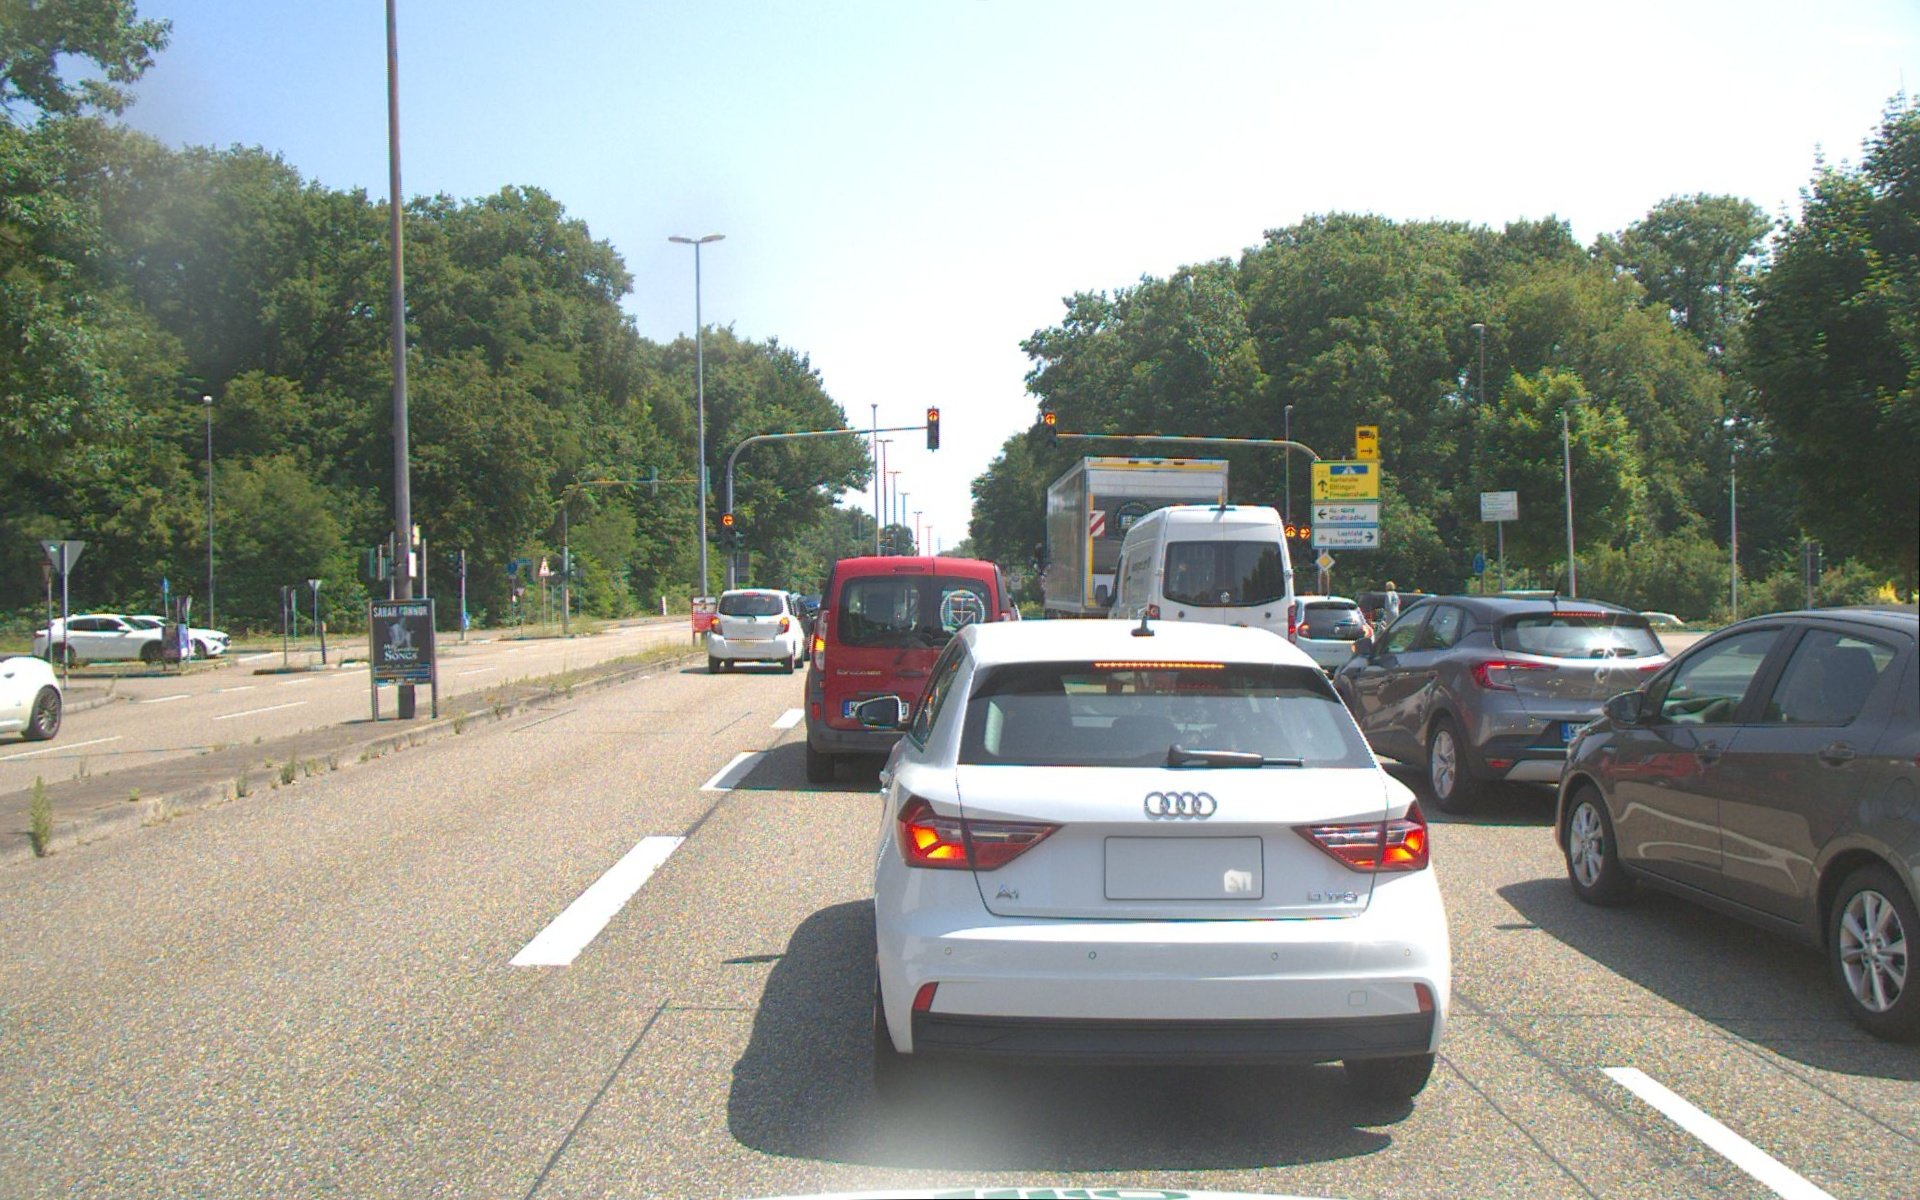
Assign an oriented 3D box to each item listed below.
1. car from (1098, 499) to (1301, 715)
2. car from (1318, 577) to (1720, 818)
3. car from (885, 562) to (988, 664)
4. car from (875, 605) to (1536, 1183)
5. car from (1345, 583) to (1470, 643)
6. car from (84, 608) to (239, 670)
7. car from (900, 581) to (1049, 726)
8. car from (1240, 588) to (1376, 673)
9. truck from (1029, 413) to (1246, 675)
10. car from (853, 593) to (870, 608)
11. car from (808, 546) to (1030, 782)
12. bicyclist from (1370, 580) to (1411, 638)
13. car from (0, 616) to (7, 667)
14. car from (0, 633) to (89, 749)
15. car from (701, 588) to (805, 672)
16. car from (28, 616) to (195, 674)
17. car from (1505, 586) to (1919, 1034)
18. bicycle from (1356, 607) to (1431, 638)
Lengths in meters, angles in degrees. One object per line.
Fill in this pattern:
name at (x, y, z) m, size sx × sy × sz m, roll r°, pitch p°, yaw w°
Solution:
car at (3.190, 0.083, 23.052) m, size 1.990 × 2.690 × 4.843 m, roll 0°, pitch 0°, yaw -2°
car at (4.225, 0.651, 13.215) m, size 1.677 × 1.621 × 4.090 m, roll 0°, pitch 0°, yaw -3°
car at (-0.470, 0.201, 28.915) m, size 1.677 × 1.660 × 4.090 m, roll 0°, pitch 0°, yaw -3°
car at (0.539, 0.740, 6.212) m, size 1.677 × 1.410 × 4.090 m, roll 0°, pitch 0°, yaw -3°
car at (15.946, 0.458, 59.120) m, size 3.906 × 2.049 × 2.000 m, roll -1°, pitch 0°, yaw -1°
car at (-27.003, 1.293, 56.062) m, size 4.291 × 1.710 × 1.807 m, roll -4°, pitch 0°, yaw -9°
car at (0.095, 0.609, 21.115) m, size 1.677 × 1.660 × 4.090 m, roll 0°, pitch 0°, yaw -3°
car at (6.802, 0.563, 32.721) m, size 1.677 × 1.573 × 4.090 m, roll 0°, pitch 0°, yaw -3°
truck at (3.320, -0.997, 34.418) m, size 3.026 × 4.511 × 11.577 m, roll 1°, pitch 0°, yaw -1°
car at (-12.077, 0.060, 202.194) m, size 1.953 × 1.803 × 4.203 m, roll -1°, pitch 0°, yaw -2°
car at (-0.396, 0.476, 14.560) m, size 1.677 × 1.779 × 4.090 m, roll 0°, pitch 0°, yaw -3°
bicyclist at (11.058, 0.223, 42.458) m, size 0.815 × 1.464 × 0.595 m, roll -1°, pitch 0°, yaw 43°
car at (-34.467, 1.357, 55.131) m, size 4.294 × 1.711 × 1.805 m, roll 1°, pitch -1°, yaw -13°
car at (-11.918, 1.115, 18.924) m, size 1.683 × 1.284 × 4.300 m, roll -3°, pitch 0°, yaw -2°
car at (-3.945, 0.538, 32.043) m, size 1.677 × 1.519 × 4.090 m, roll 0°, pitch 0°, yaw -3°
car at (-26.742, 1.408, 52.247) m, size 4.290 × 1.711 × 1.807 m, roll 1°, pitch -1°, yaw -9°
car at (4.015, 0.738, 7.265) m, size 1.678 × 1.504 × 4.090 m, roll 3°, pitch 0°, yaw -3°
bicycle at (11.109, 0.580, 42.414) m, size 1.796 × 0.779 × 0.597 m, roll -1°, pitch 0°, yaw 44°
